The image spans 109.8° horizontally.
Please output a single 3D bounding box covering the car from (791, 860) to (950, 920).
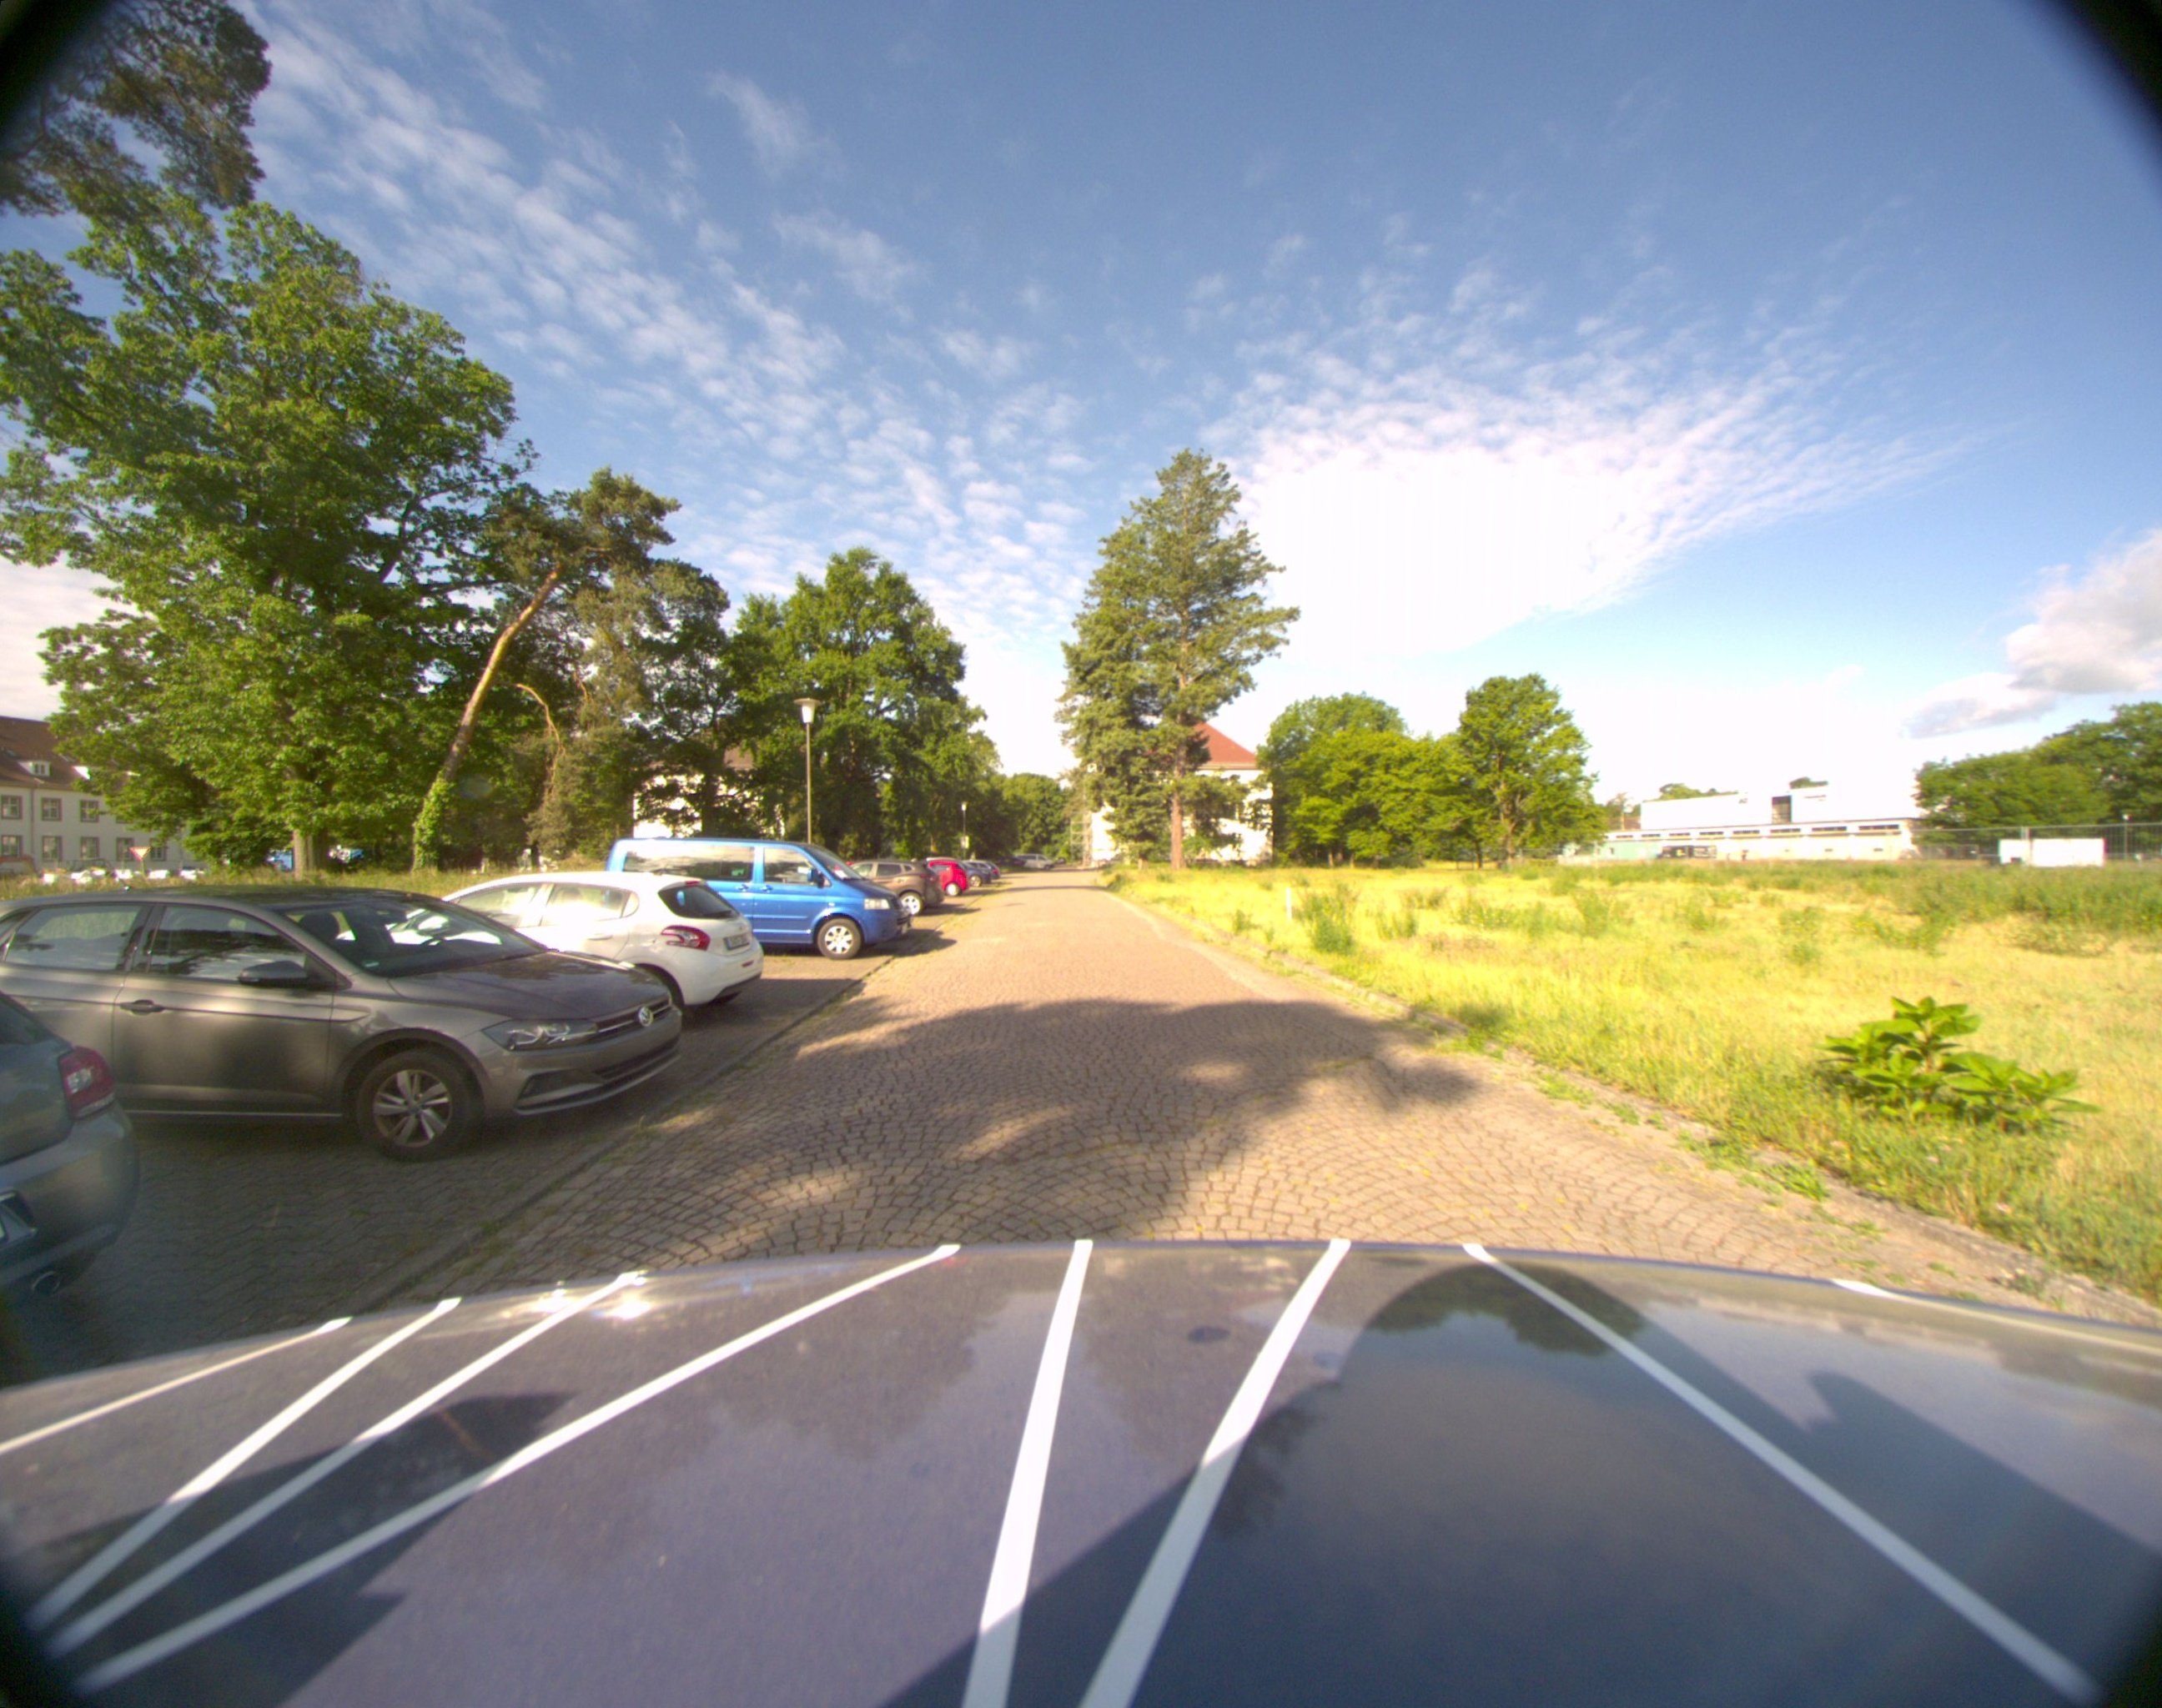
[{"bbox_3d":[-5.922,0.995,21.769,4.119,1.601,1.785,0,0,-4],"label":"car"}]

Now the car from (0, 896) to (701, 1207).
[{"bbox_3d":[-4.685,1.046,4.675,3.791,1.442,1.757,1,0,-1],"label":"car"}]

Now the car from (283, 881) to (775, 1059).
[{"bbox_3d":[-5.226,1.060,7.599,3.655,1.483,1.634,0,0,-3],"label":"car"}]

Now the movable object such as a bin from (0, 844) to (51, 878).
[{"bbox_3d":[-93.363,0.608,65.444,2.178,2.884,5.074,0,0,4],"label":"movable object such as a bin"}]

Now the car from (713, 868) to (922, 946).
[{"bbox_3d":[-5.274,1.052,15.585,3.731,1.458,1.609,1,0,-5],"label":"car"}]

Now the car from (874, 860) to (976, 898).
[{"bbox_3d":[-6.516,1.033,32.020,3.998,1.487,1.540,-1,1,-3],"label":"car"}]

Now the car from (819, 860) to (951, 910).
[{"bbox_3d":[-6.264,0.987,24.561,3.836,1.530,1.703,0,0,-3],"label":"car"}]

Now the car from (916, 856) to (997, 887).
[{"bbox_3d":[-6.890,0.959,42.299,4.275,1.589,1.651,-1,1,-3],"label":"car"}]

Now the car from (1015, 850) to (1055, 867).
[{"bbox_3d":[-5.825,0.594,96.095,4.995,2.123,2.164,-1,0,-5],"label":"car"}]

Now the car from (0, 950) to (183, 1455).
[{"bbox_3d":[-5.042,1.042,1.815,3.673,1.446,1.666,1,0,-3],"label":"car"}]

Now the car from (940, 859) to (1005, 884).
[{"bbox_3d":[-6.671,1.064,47.000,3.810,1.458,1.746,-1,0,-2],"label":"car"}]

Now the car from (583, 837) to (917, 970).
[{"bbox_3d":[-5.400,0.789,12.946,4.767,2.002,1.999,1,0,-3],"label":"car"}]
